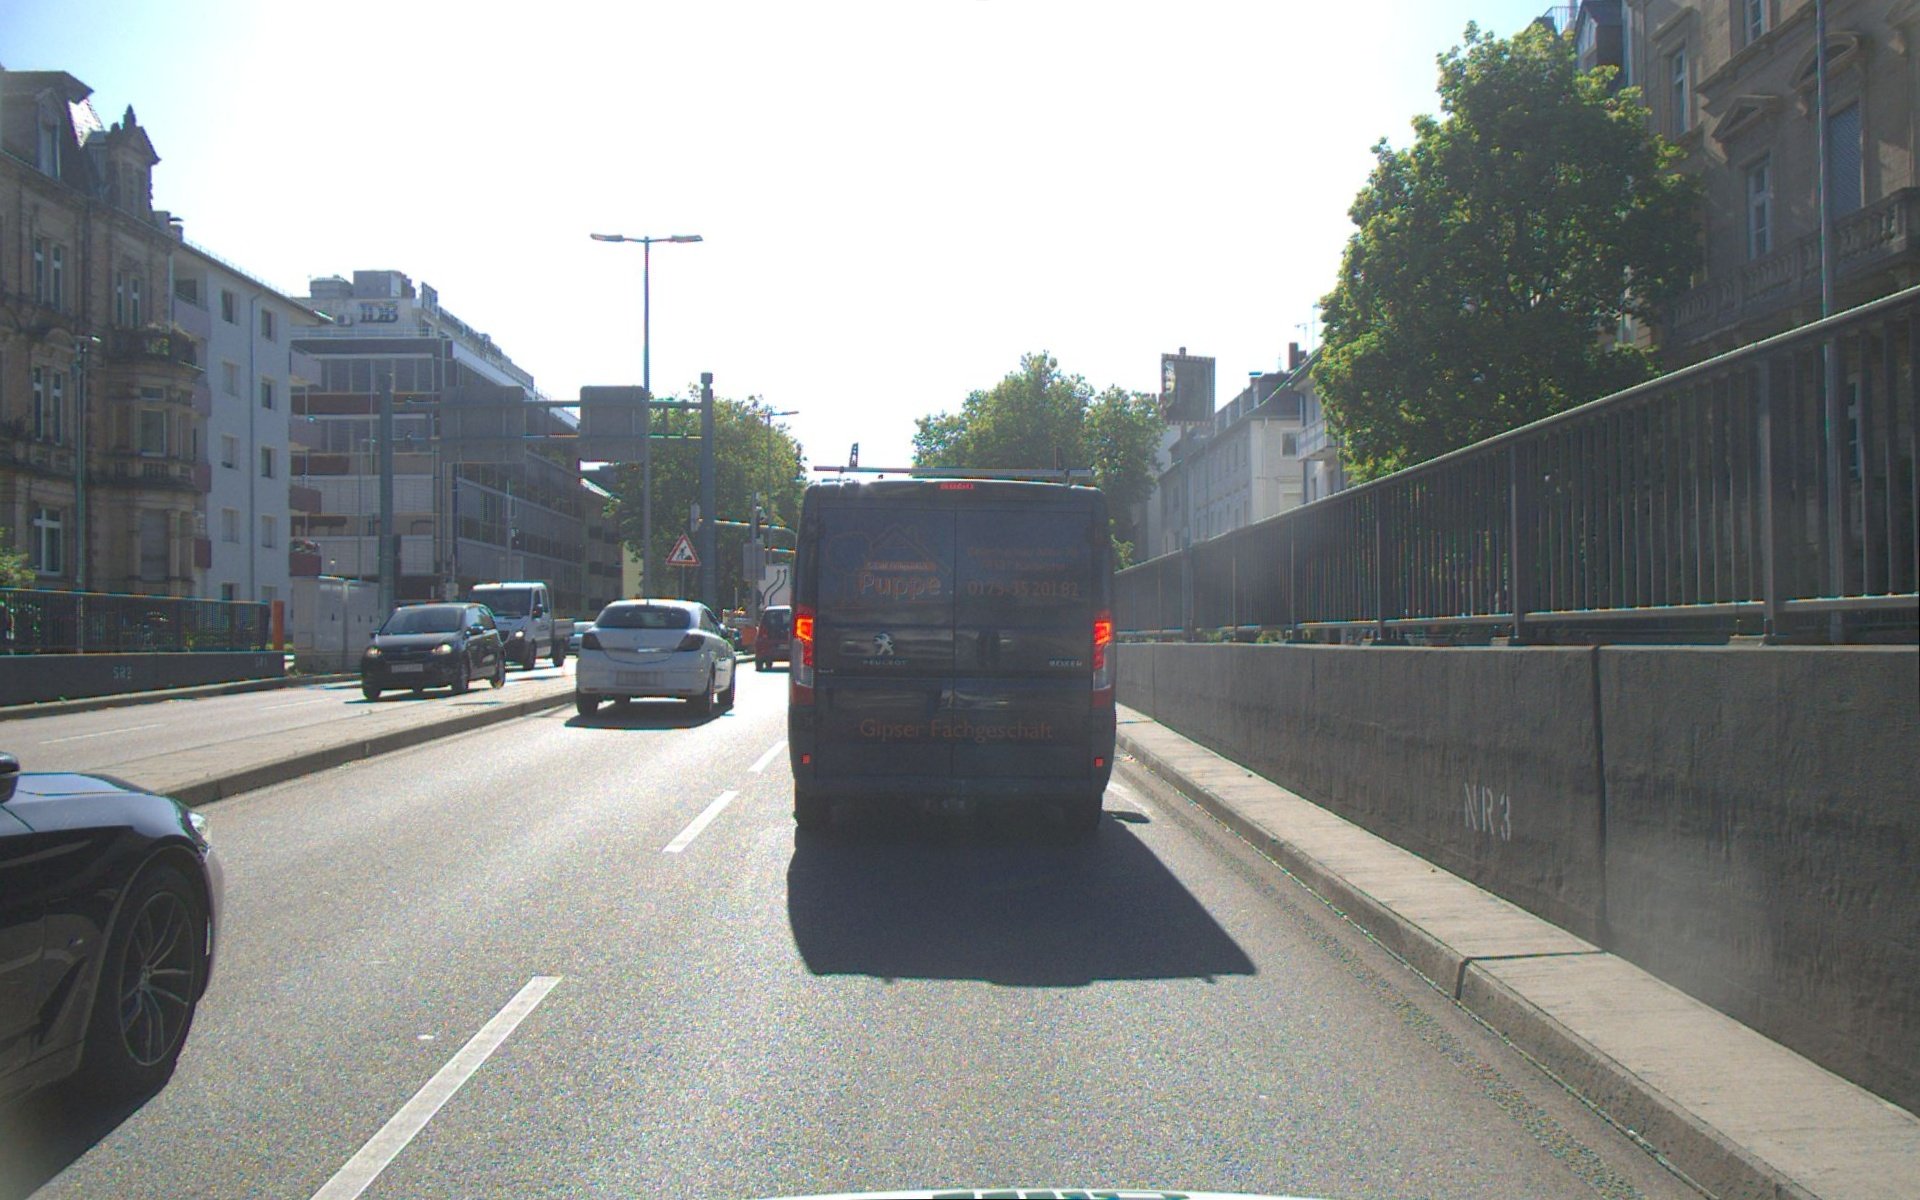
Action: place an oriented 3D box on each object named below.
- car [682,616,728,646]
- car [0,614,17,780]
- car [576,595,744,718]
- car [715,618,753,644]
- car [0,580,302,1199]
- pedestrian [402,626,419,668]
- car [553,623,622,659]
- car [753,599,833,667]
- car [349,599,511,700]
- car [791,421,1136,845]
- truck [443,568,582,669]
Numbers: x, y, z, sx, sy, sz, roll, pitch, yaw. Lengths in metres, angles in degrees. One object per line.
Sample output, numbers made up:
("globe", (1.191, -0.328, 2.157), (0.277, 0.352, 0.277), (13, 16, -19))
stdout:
("car", (-13.807, 1.675, 89.812), (1.897, 1.582, 3.922), (1, -1, -1))
("car", (-8.367, 0.795, 11.436), (1.508, 1.322, 3.926), (-3, -1, -2))
("car", (-3.852, 0.671, 21.800), (1.586, 1.428, 3.851), (1, 0, -2))
("car", (-14.181, 1.944, 103.934), (1.897, 1.582, 3.922), (1, -1, -1))
("car", (-3.089, 0.683, 3.185), (1.772, 1.464, 5.000), (1, 0, -2))
("pedestrian", (-25.539, 2.183, 76.812), (0.647, 1.929, 0.720), (1, -1, -14))
("car", (-15.513, 1.704, 69.088), (1.640, 1.434, 3.618), (0, -1, 8))
("car", (-3.952, 0.760, 39.478), (1.655, 1.509, 3.317), (1, 0, -2))
("car", (-8.766, 0.784, 27.640), (1.577, 1.483, 3.607), (-3, 0, -2))
("car", (-0.021, 0.215, 11.575), (1.989, 2.444, 3.971), (0, -1, -1))
("truck", (-12.349, 0.527, 46.078), (2.183, 2.572, 6.128), (-2, -1, 0))
